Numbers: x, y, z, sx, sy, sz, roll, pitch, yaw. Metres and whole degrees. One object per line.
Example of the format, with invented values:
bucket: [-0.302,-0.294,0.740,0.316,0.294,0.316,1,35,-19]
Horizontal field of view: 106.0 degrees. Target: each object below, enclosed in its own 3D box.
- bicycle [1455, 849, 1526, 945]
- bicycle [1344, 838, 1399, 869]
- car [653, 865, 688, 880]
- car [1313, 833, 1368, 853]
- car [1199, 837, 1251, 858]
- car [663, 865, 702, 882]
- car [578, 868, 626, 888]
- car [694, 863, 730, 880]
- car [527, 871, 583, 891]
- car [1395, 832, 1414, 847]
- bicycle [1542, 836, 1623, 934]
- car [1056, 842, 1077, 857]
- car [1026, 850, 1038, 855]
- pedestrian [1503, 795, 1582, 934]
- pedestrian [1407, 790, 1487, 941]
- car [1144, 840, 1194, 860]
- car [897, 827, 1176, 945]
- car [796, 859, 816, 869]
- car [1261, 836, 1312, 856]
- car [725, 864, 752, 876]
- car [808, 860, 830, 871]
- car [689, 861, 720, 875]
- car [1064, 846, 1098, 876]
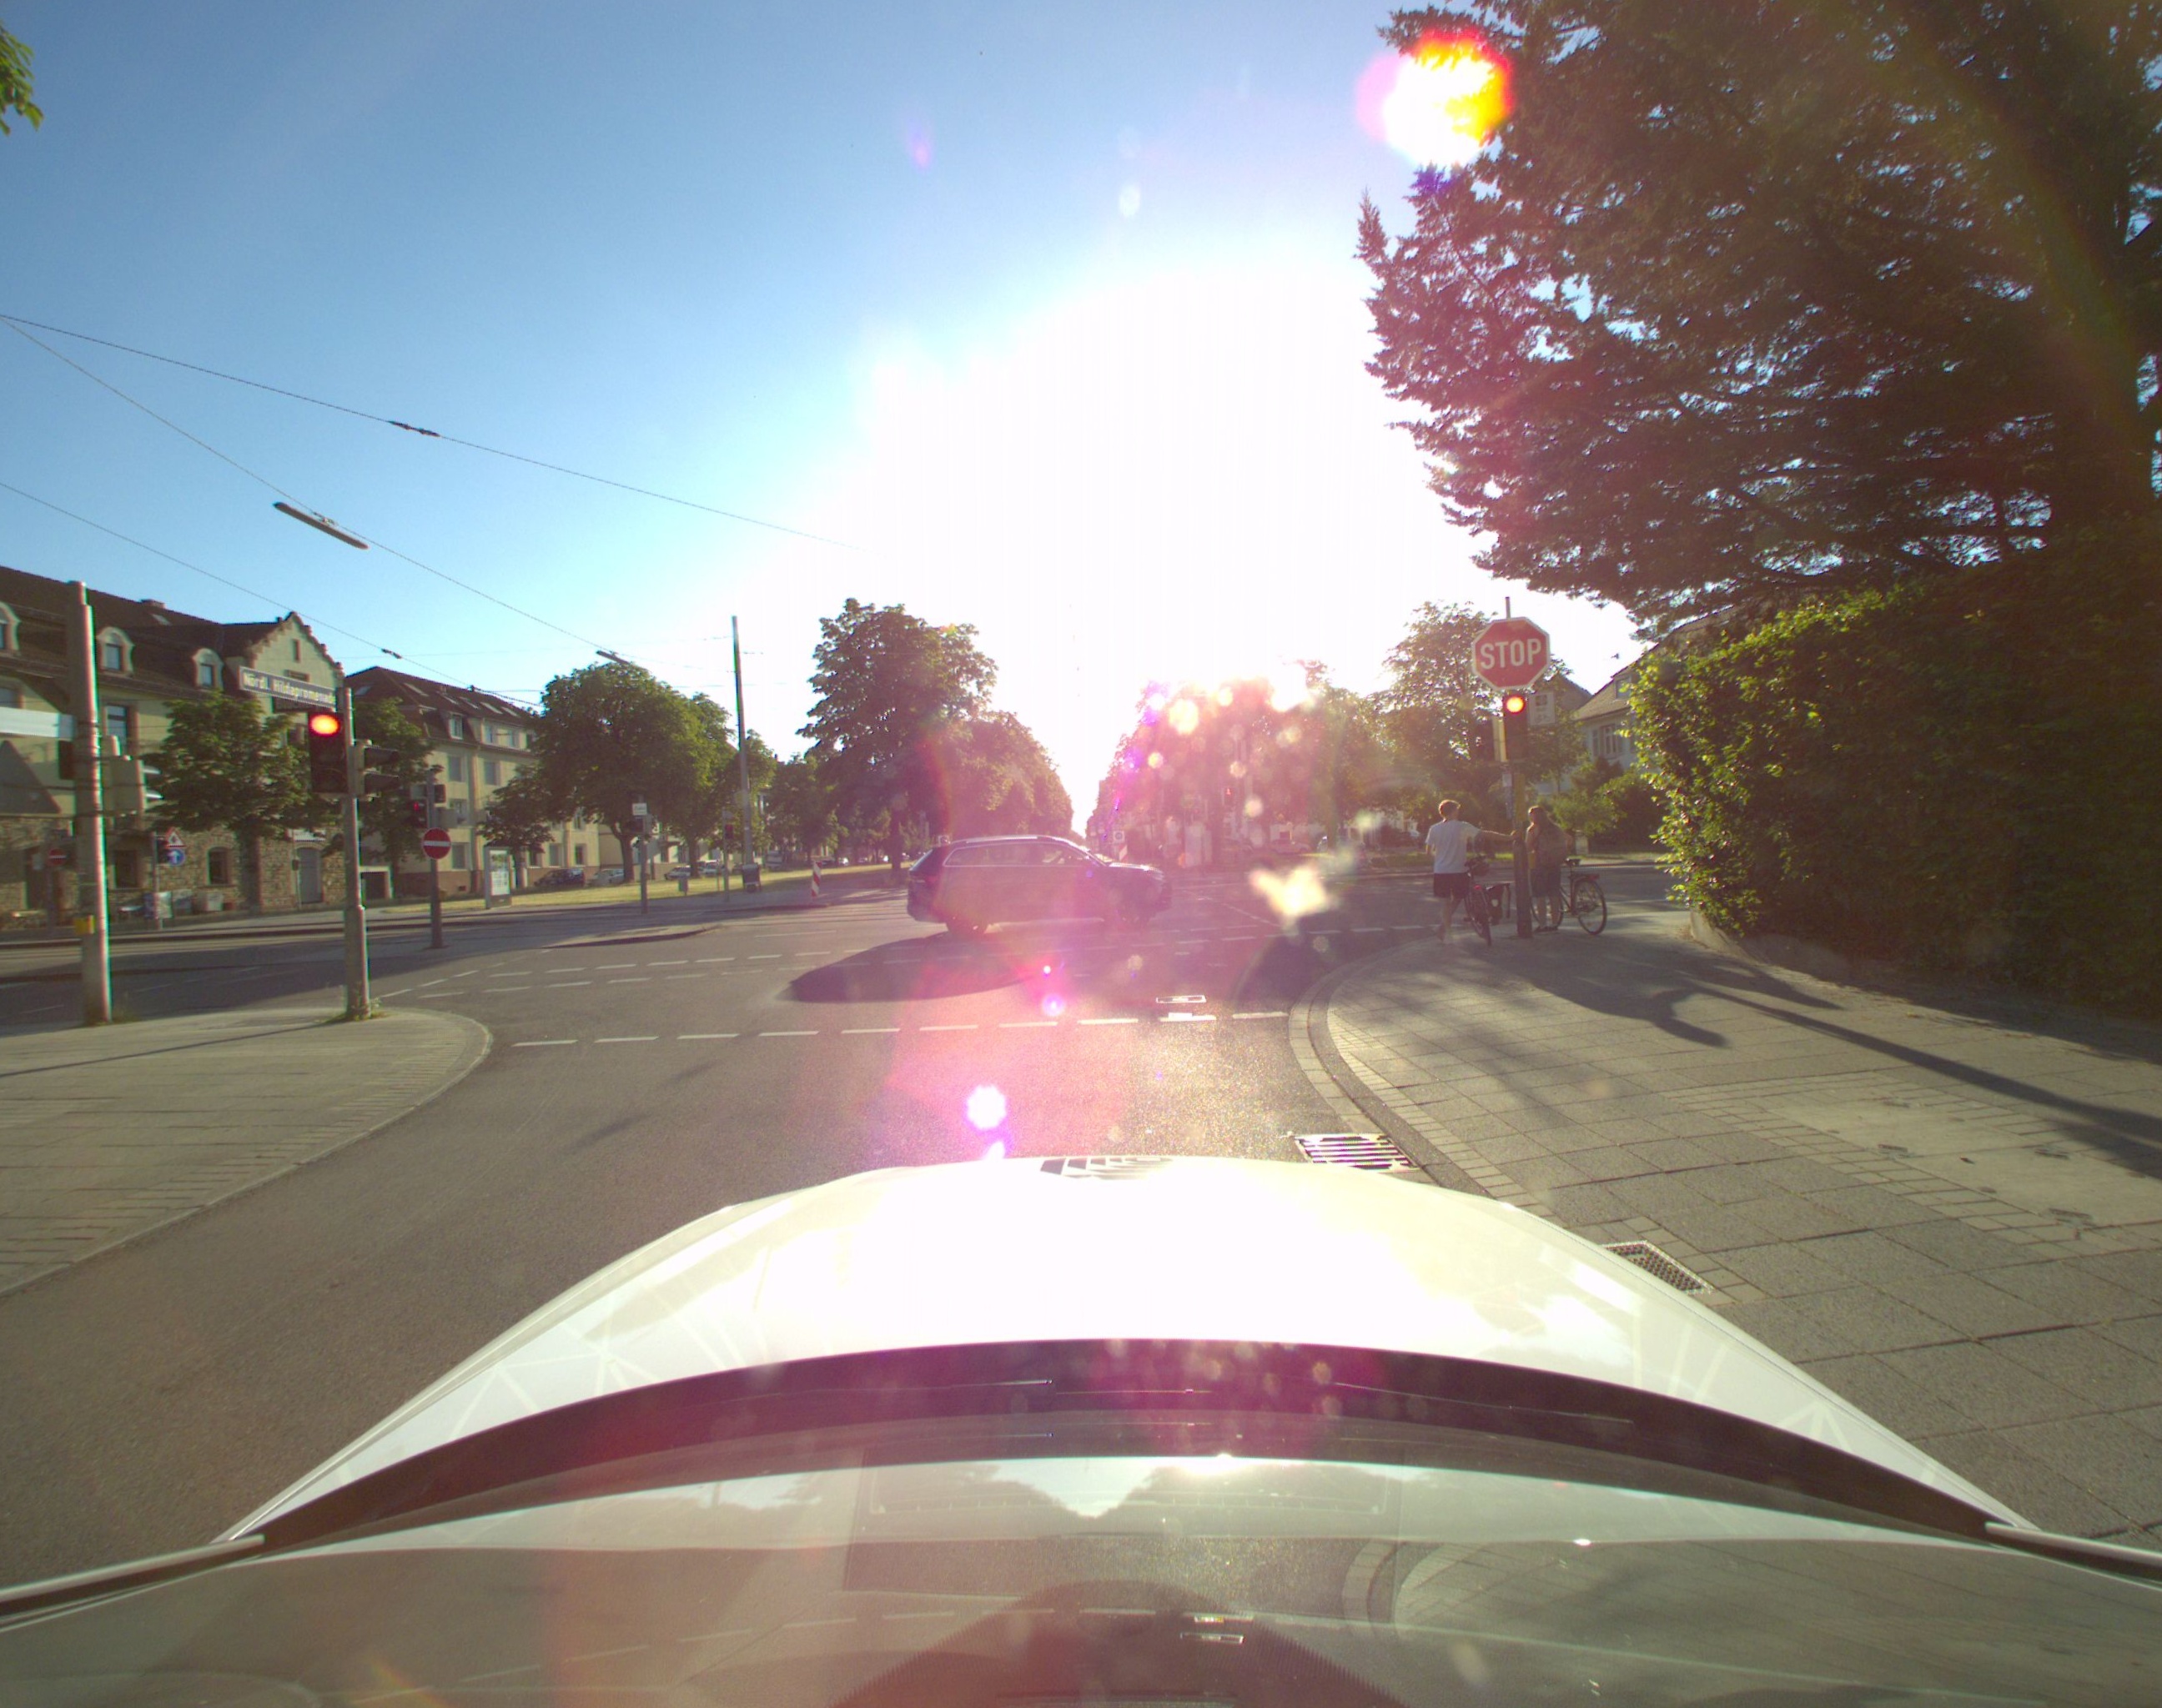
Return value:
bicycle: [5.262,0.512,10.545,0.483,1.097,1.799,-5,-1,19]
bicycle: [11.644,-0.018,32.704,1.946,1.132,0.620,-2,0,2]
car: [-43.913,1.989,87.186,1.732,1.427,3.793,-3,0,1]
car: [20.899,-0.887,65.693,3.838,1.427,1.595,-2,0,-4]
car: [11.506,-0.509,65.199,3.767,1.525,1.744,-2,2,0]
car: [-37.328,1.799,76.399,1.732,1.427,3.793,-2,1,1]
car: [-43.066,2.132,73.272,1.729,1.427,3.800,-2,2,6]
car: [-37.312,1.761,82.435,1.732,1.427,3.793,-2,2,1]
car: [-43.112,2.206,66.855,1.729,1.397,3.799,-2,0,6]
car: [33.175,-1.482,83.461,1.649,1.417,3.563,-3,0,24]
bicycle: [6.444,0.362,10.540,0.483,1.142,1.606,-5,0,19]
car: [-1.380,-0.436,78.176,1.839,1.393,3.829,-2,1,1]
car: [-14.711,-0.487,245.331,3.510,1.427,1.602,-2,0,-1]
pedestrian: [6.024,0.129,10.657,0.663,1.708,0.626,-6,1,20]
pedestrian: [4.837,0.154,10.812,0.665,1.865,0.886,-8,-3,19]
car: [7.006,-0.312,64.980,3.767,1.427,1.744,-2,2,0]
car: [-0.809,0.504,14.390,4.548,1.663,1.873,-3,0,-10]
car: [-43.076,1.513,127.638,1.732,1.427,3.793,-2,0,1]
car: [16.386,-0.629,65.027,3.656,1.427,1.529,-2,0,-4]
car: [-43.523,2.016,103.552,1.732,1.427,3.793,-2,0,1]
car: [-37.696,1.592,117.253,1.732,1.427,3.793,-2,0,1]
car: [-43.102,1.573,93.263,1.732,1.427,3.793,-2,0,1]
car: [0.034,0.349,44.019,1.634,1.450,3.310,-2,1,3]
